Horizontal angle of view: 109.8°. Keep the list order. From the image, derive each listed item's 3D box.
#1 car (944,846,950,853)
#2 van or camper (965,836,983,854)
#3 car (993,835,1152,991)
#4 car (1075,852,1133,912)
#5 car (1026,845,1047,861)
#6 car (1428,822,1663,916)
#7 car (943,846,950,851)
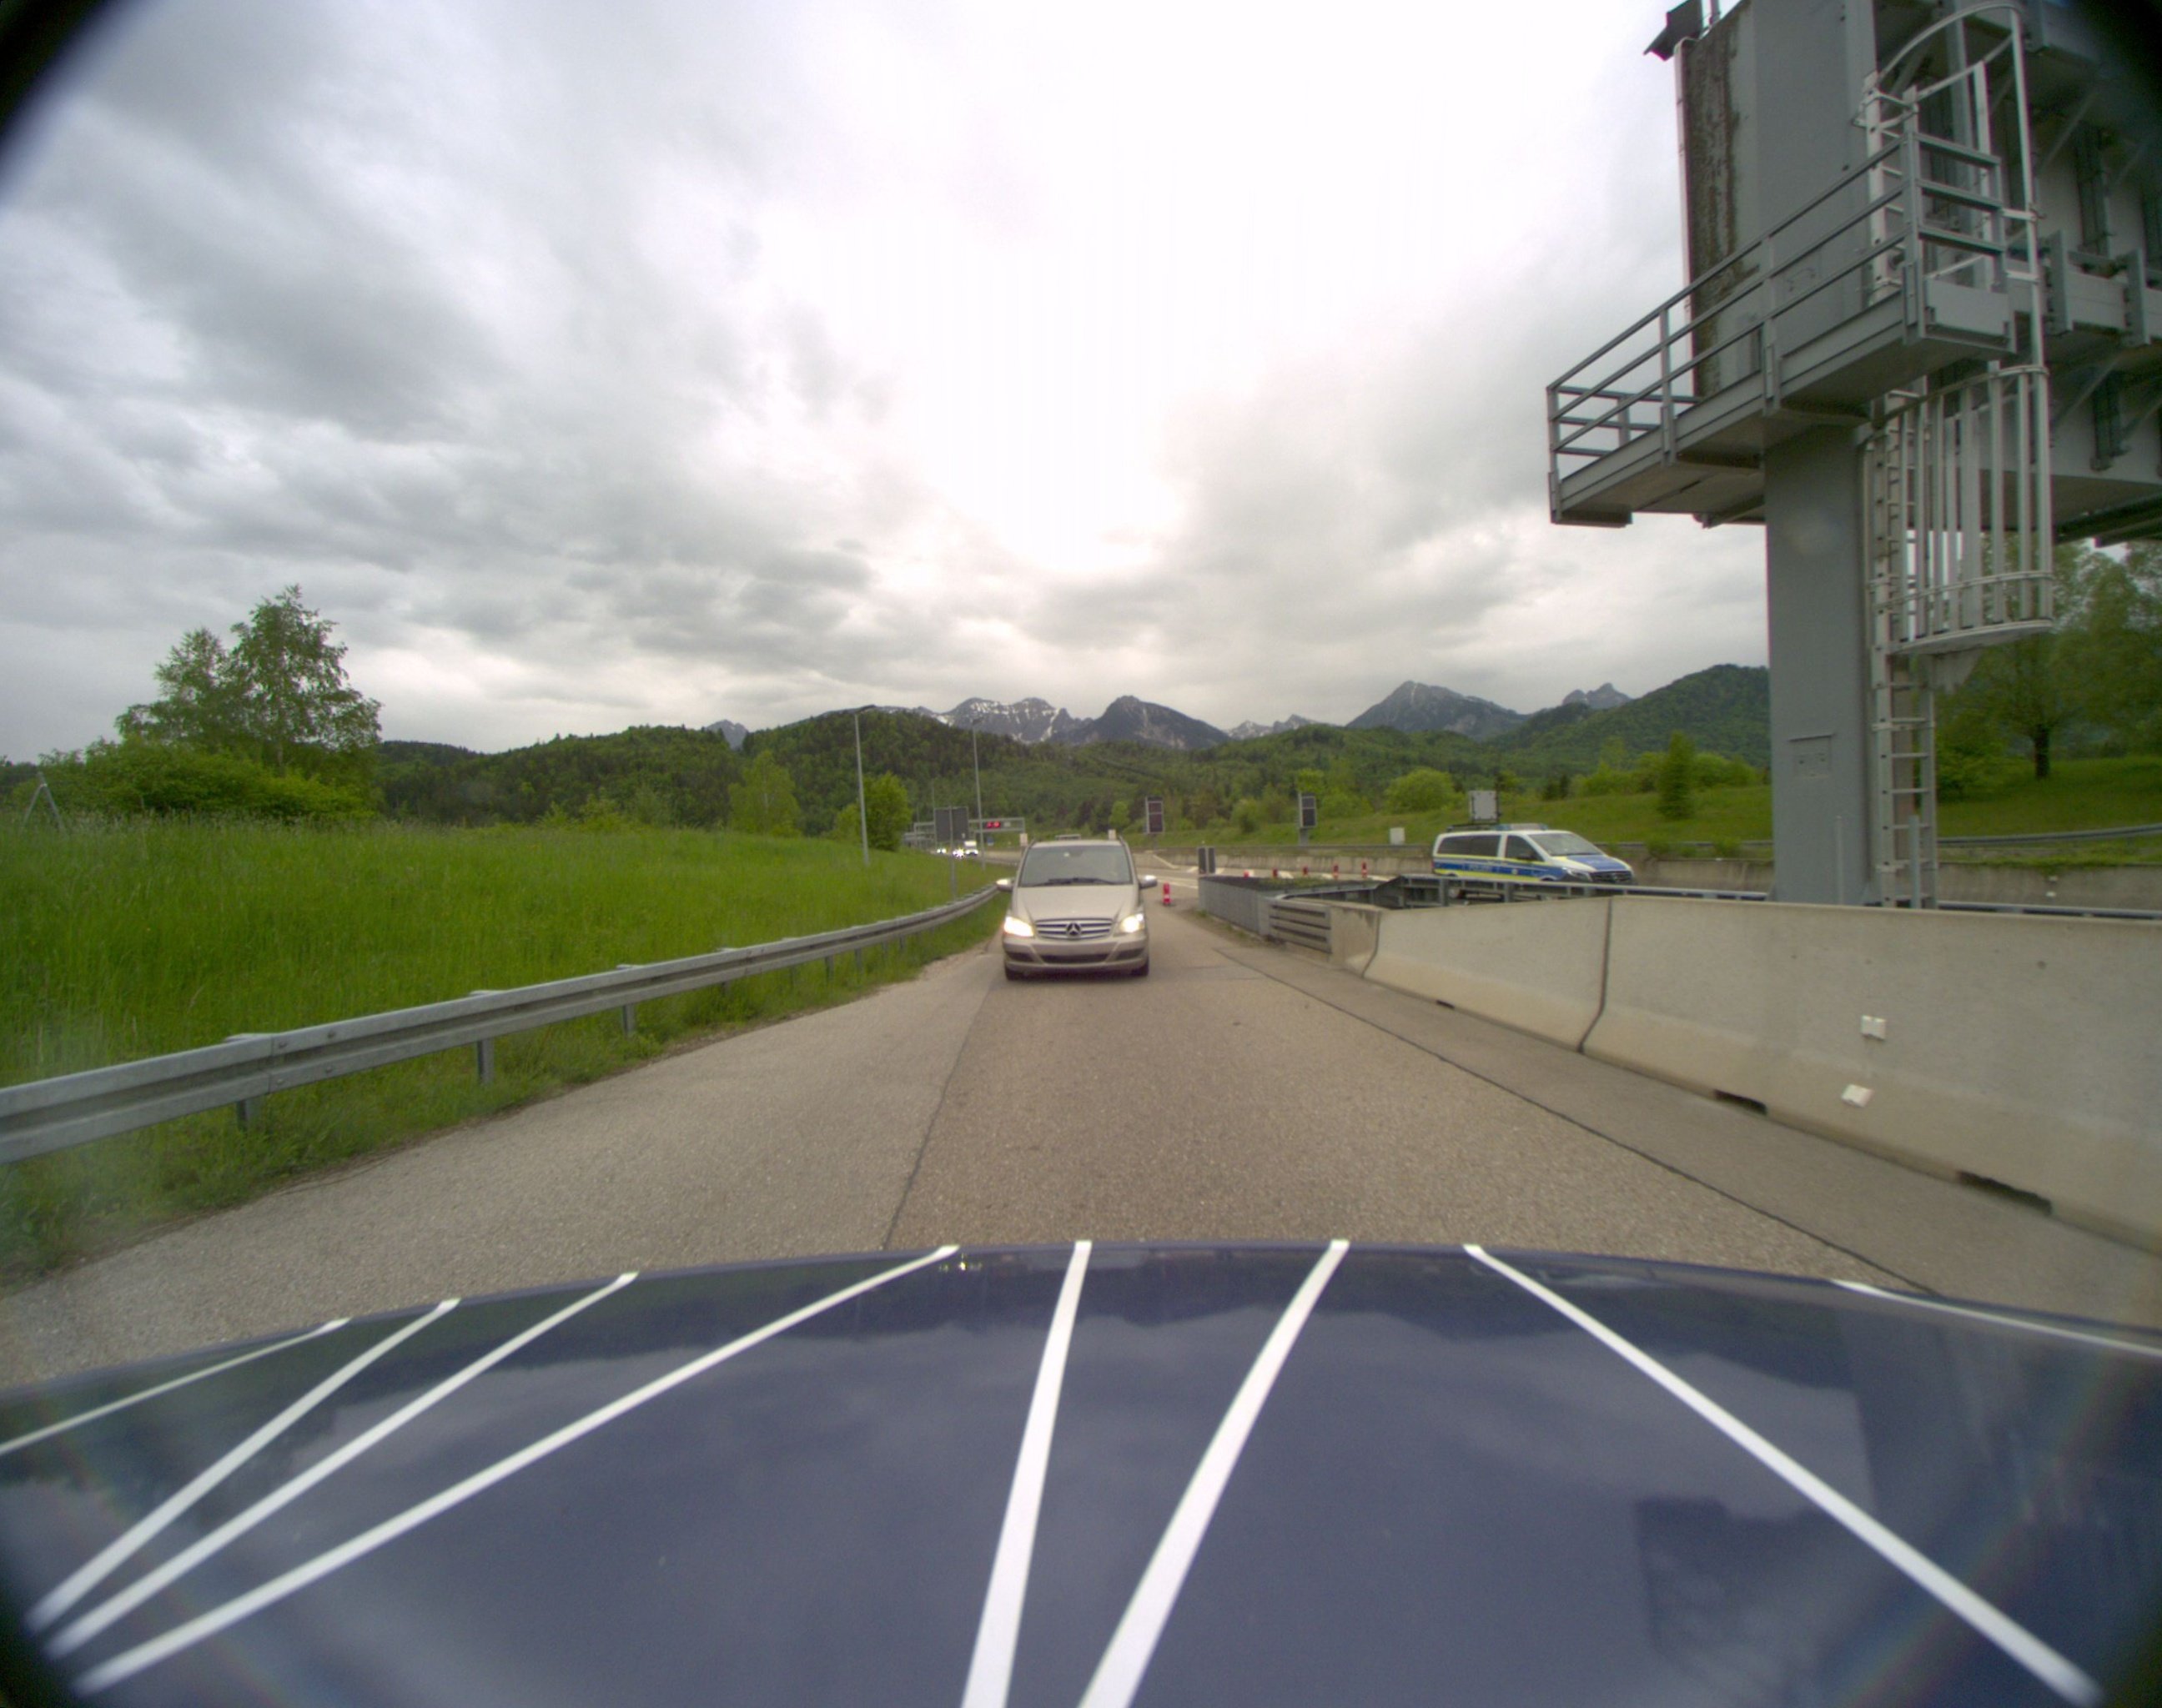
[{"bbox_3d":[-40.475,-1.401,229.725,1.868,1.861,3.995,-1,1,-11],"label":"car"},{"bbox_3d":[-21.114,-1.759,150.119,2.585,3.372,7.345,-2,1,-15],"label":"van or camper"},{"bbox_3d":[-0.066,0.673,11.902,1.862,1.833,5.616,-1,1,1],"label":"car"},{"bbox_3d":[0.697,0.800,23.454,1.591,1.662,4.000,-1,0,1],"label":"car"},{"bbox_3d":[-4.940,-0.113,84.569,1.767,1.759,3.996,-2,1,-11],"label":"car"},{"bbox_3d":[11.324,0.293,19.074,2.106,2.002,5.046,-2,1,-13],"label":"car"},{"bbox_3d":[-40.594,-1.713,228.732,1.722,1.629,4.342,-2,1,-14],"label":"car"}]
